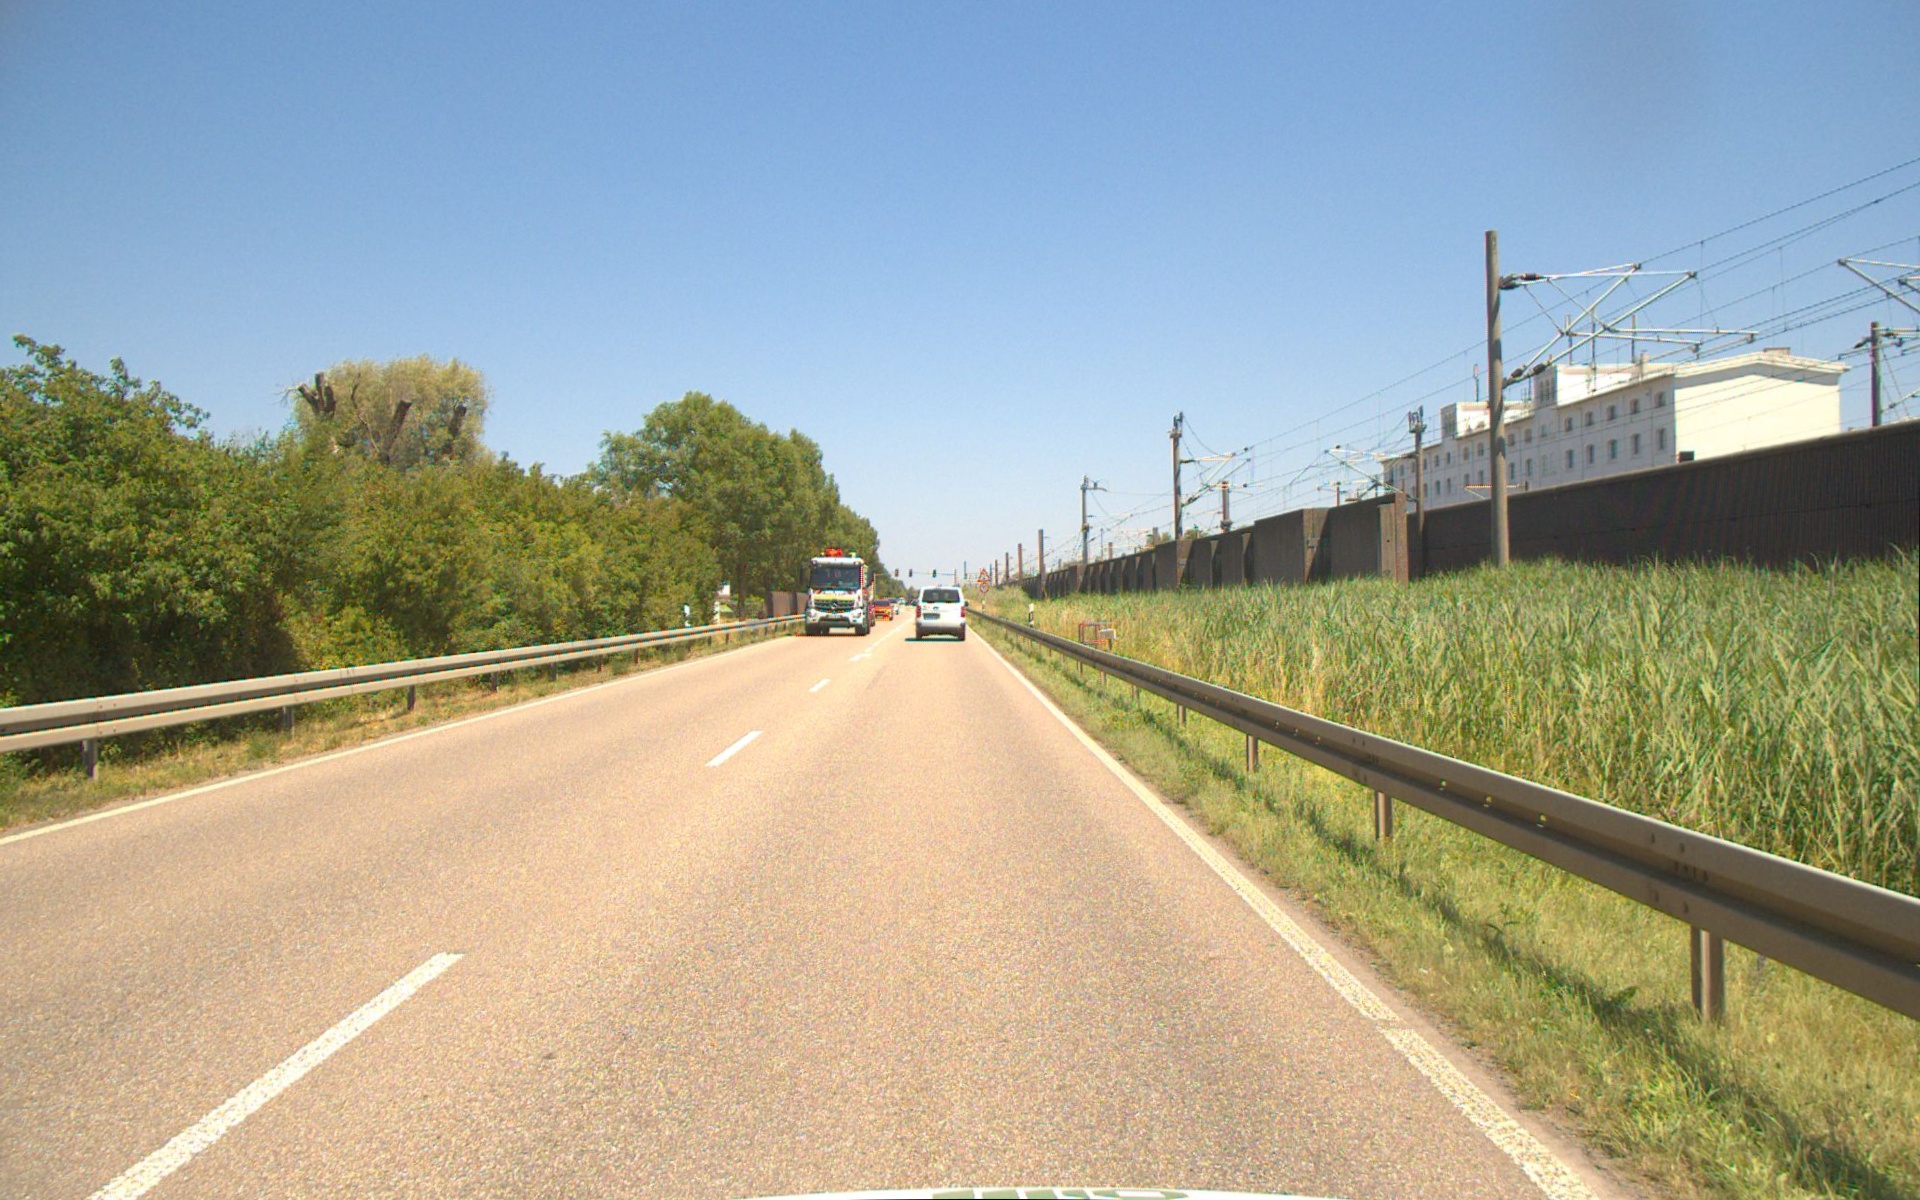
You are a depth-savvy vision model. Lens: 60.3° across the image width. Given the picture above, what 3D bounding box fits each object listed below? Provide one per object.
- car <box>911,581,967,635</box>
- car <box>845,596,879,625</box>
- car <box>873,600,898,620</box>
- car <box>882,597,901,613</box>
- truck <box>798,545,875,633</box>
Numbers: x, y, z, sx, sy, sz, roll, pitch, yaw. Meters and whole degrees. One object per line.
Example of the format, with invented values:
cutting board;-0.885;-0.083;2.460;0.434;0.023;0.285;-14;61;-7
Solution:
car;-0.774;0.282;60.928;1.953;1.882;3.999;1;0;-1
car;-5.366;0.569;90.757;1.619;1.579;4.000;0;0;0
car;-5.356;0.697;118.149;1.753;1.446;3.998;0;0;-3
car;-6.615;0.465;159.866;1.753;1.552;4.389;0;0;0
truck;-5.106;-0.443;69.709;2.727;3.464;7.987;1;0;-1
